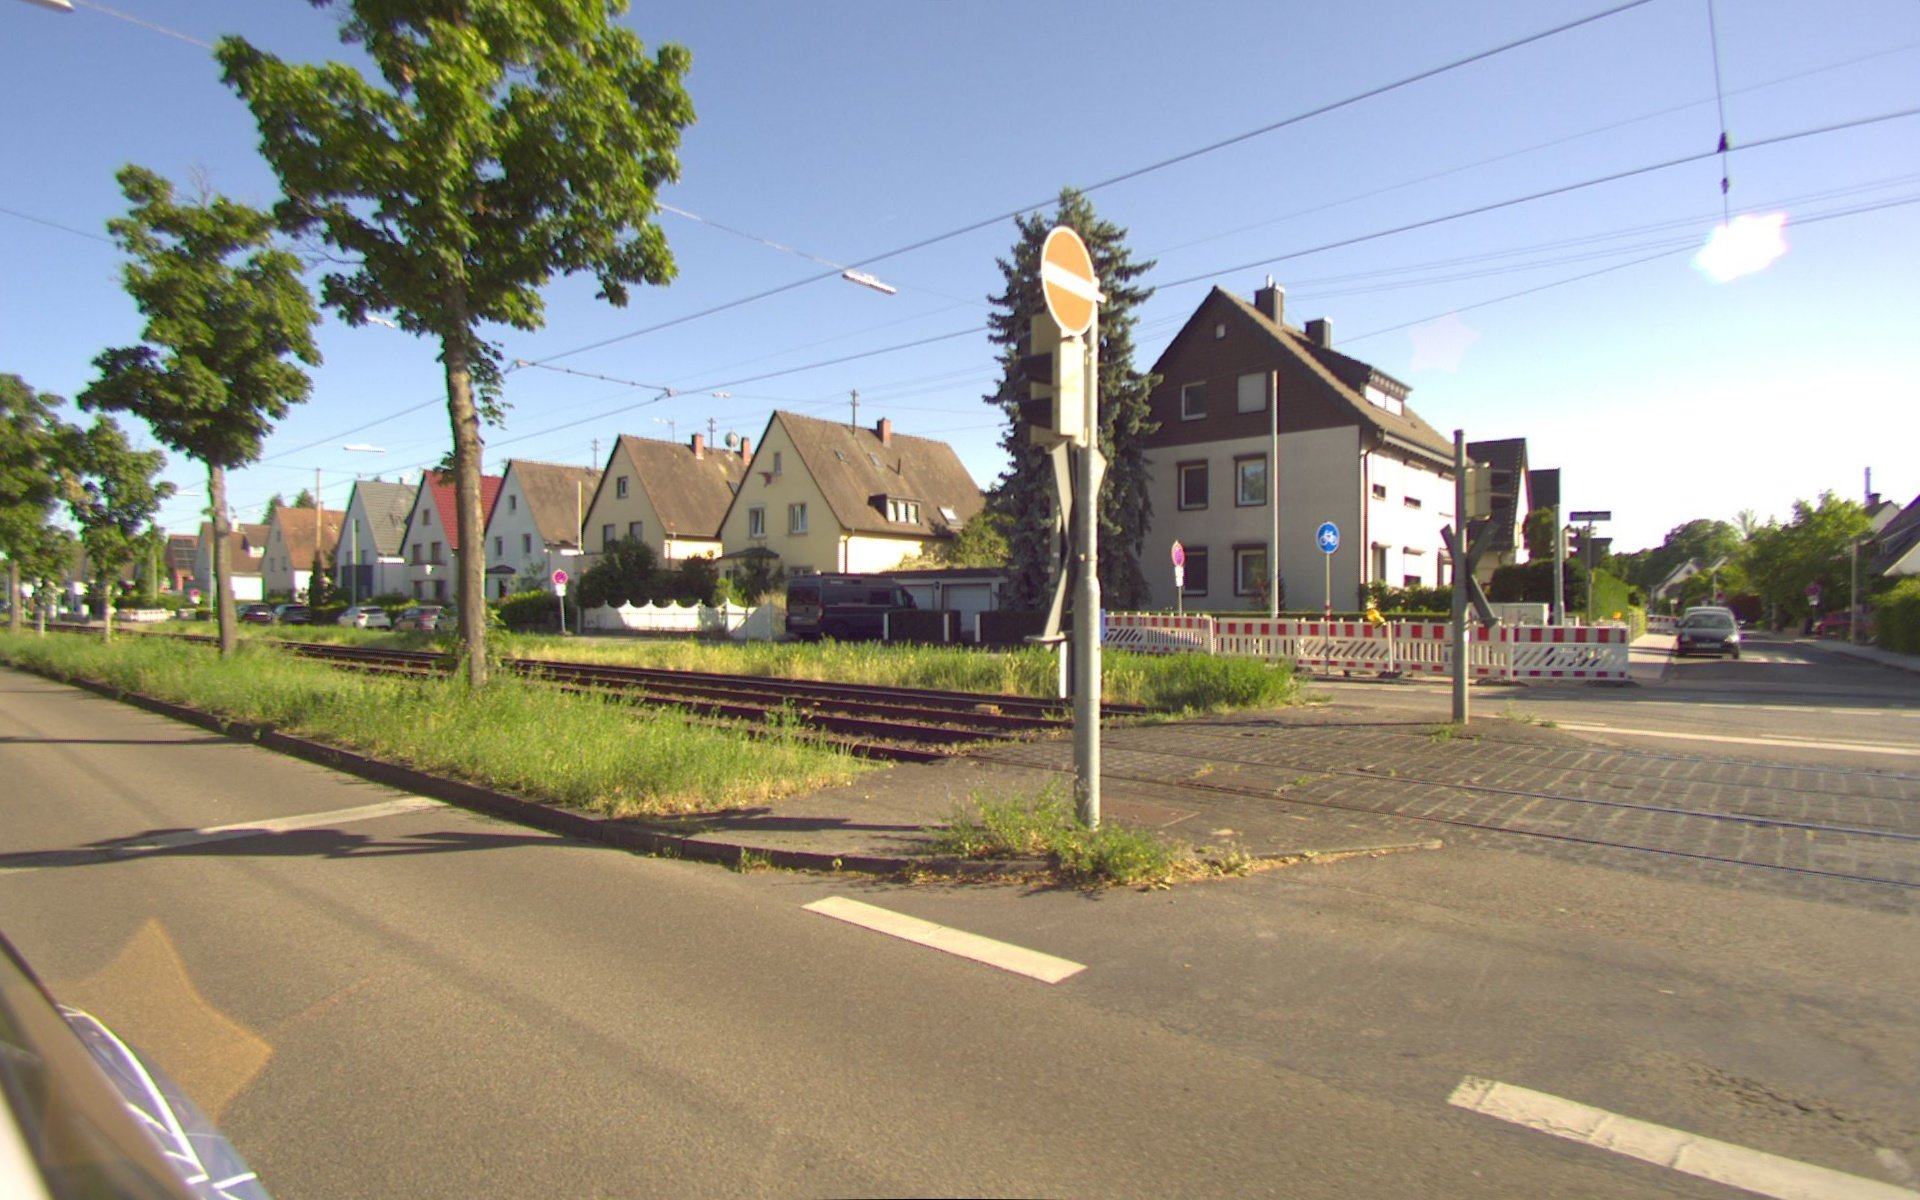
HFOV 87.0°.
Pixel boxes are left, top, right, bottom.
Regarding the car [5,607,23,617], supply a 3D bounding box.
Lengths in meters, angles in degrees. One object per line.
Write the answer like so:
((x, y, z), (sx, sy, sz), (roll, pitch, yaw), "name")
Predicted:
((-147.178, 1.889, 157.417), (3.754, 1.501, 1.716), (0, 1, 42), "car")

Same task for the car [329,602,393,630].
((-33.963, 0.878, 57.316), (4.410, 1.437, 1.972), (0, 1, 43), "car")

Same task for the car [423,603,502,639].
((-23.689, 0.957, 48.141), (4.055, 1.565, 1.926), (0, 1, 41), "car")

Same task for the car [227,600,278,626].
((-50.598, 0.917, 72.337), (4.389, 1.726, 1.973), (0, 1, 41), "car")

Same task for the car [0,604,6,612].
((-160.085, 1.351, 168.222), (3.822, 1.391, 1.733), (0, 1, 42), "car")

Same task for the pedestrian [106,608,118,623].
((-86.345, 1.556, 103.012), (0.794, 1.546, 0.802), (-3, -2, 42), "pedestrian")

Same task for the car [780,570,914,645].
((-4.213, 0.280, 38.453), (2.101, 2.645, 4.976), (-1, -1, 41), "car")

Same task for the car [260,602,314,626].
((-44.298, 0.887, 66.588), (4.254, 1.506, 1.906), (0, 1, 41), "car")

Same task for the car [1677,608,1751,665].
((23.822, 1.095, 31.942), (1.742, 1.561, 3.948), (0, 1, 39), "car")

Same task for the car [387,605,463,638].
((-27.120, 1.056, 51.254), (4.126, 1.460, 1.973), (0, 3, 41), "car")

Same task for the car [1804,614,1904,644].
((50.188, 1.601, 56.928), (3.990, 1.561, 1.723), (0, 1, 35), "car")
